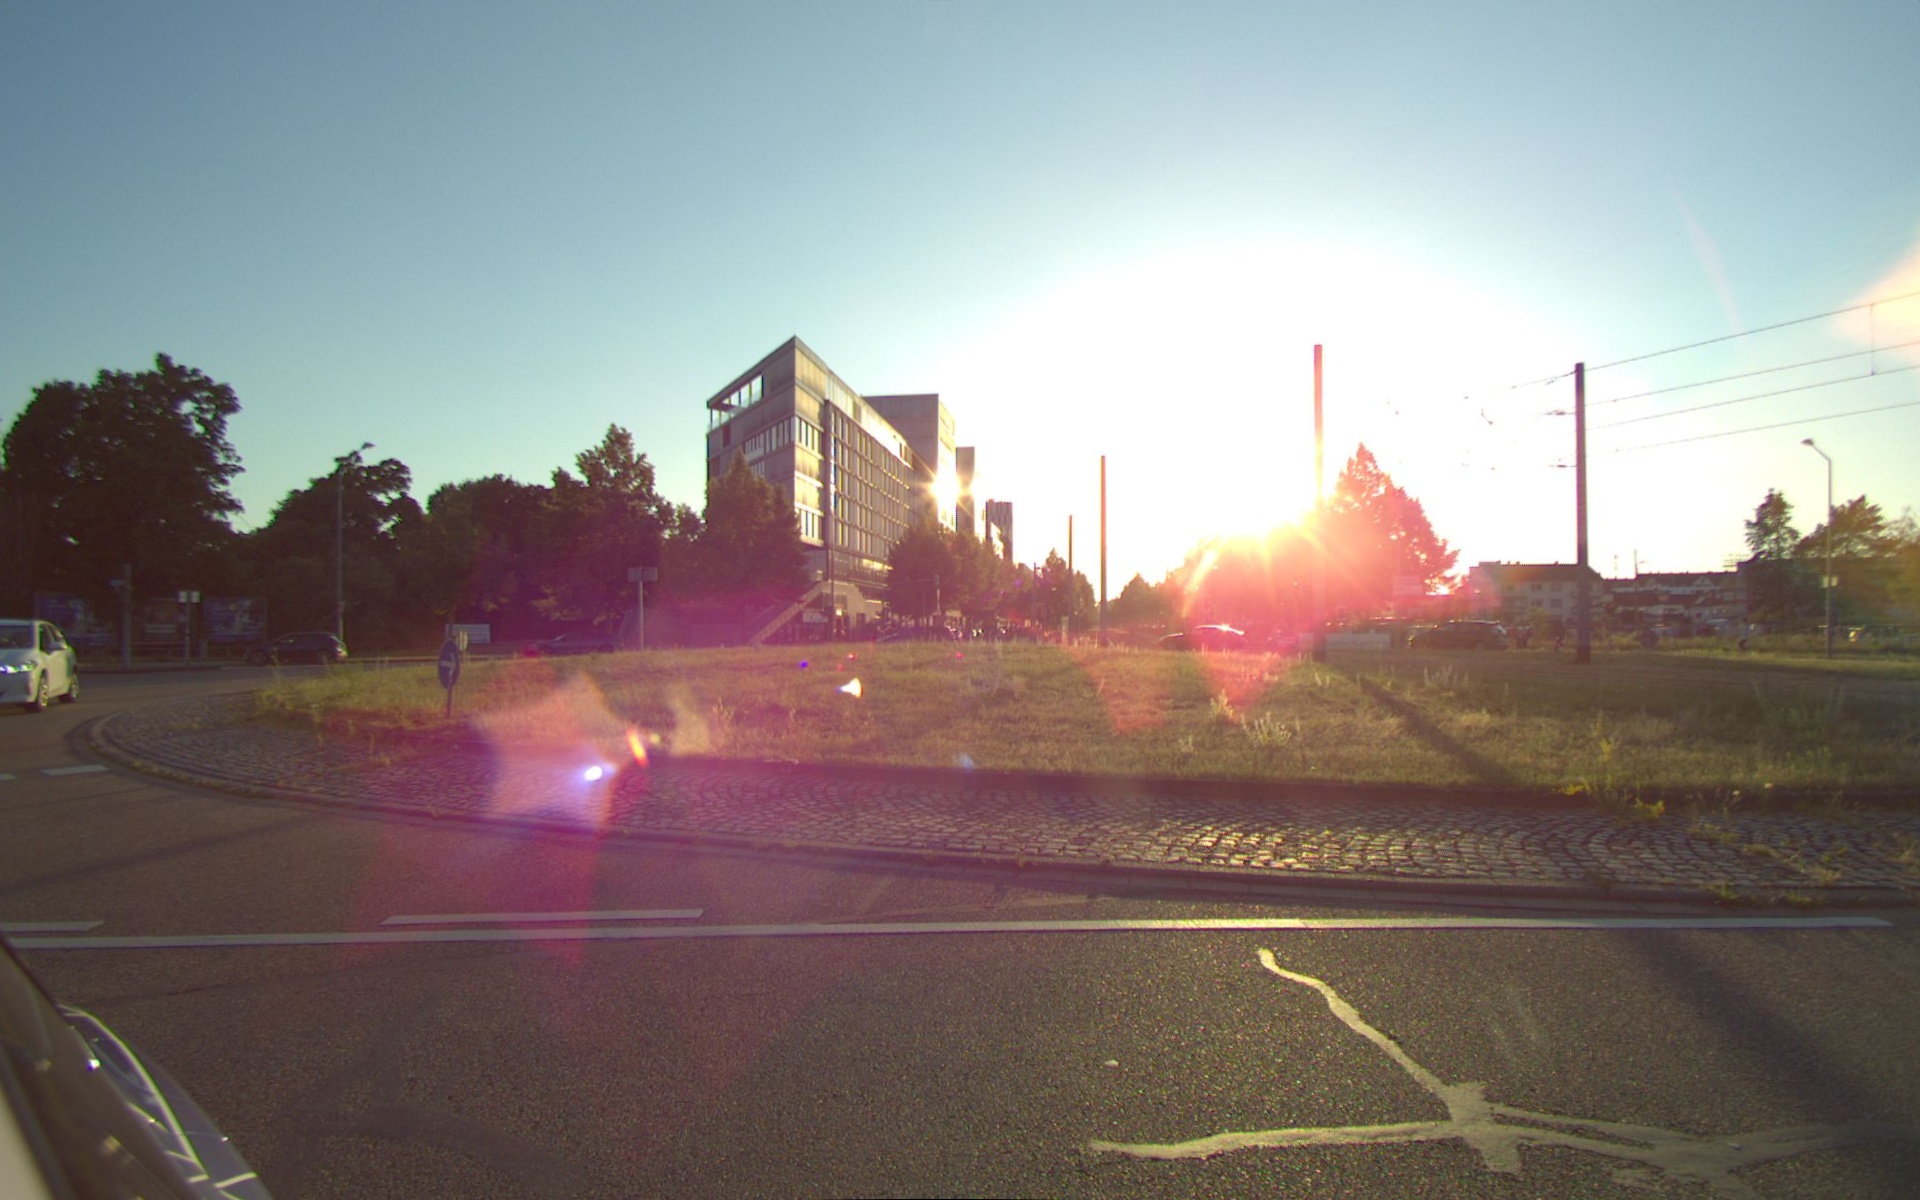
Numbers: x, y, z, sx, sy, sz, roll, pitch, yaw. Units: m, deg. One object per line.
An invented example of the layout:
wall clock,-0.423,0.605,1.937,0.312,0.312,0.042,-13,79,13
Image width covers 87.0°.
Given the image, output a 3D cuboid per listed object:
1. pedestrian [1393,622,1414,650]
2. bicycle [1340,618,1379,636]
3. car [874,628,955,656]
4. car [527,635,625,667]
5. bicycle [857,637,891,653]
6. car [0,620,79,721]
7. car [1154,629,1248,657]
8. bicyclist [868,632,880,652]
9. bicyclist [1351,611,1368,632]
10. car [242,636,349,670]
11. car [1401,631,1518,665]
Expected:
pedestrian,29.233,2.388,66.682,1.157,1.841,0.969,-1,-2,30
bicycle,26.838,1.805,68.013,2.397,1.176,0.748,-1,-2,27
car,-2.474,2.290,55.374,4.339,1.443,1.945,-1,-2,-1
car,-19.029,2.498,50.129,4.327,1.443,1.951,0,-2,-29
bicycle,-6.131,3.196,71.971,2.375,1.176,0.754,0,-2,0
car,-16.474,1.148,17.221,1.731,1.570,4.225,1,-2,-34
car,12.894,2.283,54.257,4.575,1.443,1.925,-1,-2,30
bicyclist,-6.115,2.967,72.024,0.867,1.403,0.755,0,-2,-1
bicyclist,26.842,1.479,68.000,0.973,1.405,0.748,-1,-2,27
car,-29.958,2.381,45.753,3.685,1.443,1.951,0,-2,-20
car,22.591,2.153,45.912,1.914,1.443,4.328,1,-2,-40
